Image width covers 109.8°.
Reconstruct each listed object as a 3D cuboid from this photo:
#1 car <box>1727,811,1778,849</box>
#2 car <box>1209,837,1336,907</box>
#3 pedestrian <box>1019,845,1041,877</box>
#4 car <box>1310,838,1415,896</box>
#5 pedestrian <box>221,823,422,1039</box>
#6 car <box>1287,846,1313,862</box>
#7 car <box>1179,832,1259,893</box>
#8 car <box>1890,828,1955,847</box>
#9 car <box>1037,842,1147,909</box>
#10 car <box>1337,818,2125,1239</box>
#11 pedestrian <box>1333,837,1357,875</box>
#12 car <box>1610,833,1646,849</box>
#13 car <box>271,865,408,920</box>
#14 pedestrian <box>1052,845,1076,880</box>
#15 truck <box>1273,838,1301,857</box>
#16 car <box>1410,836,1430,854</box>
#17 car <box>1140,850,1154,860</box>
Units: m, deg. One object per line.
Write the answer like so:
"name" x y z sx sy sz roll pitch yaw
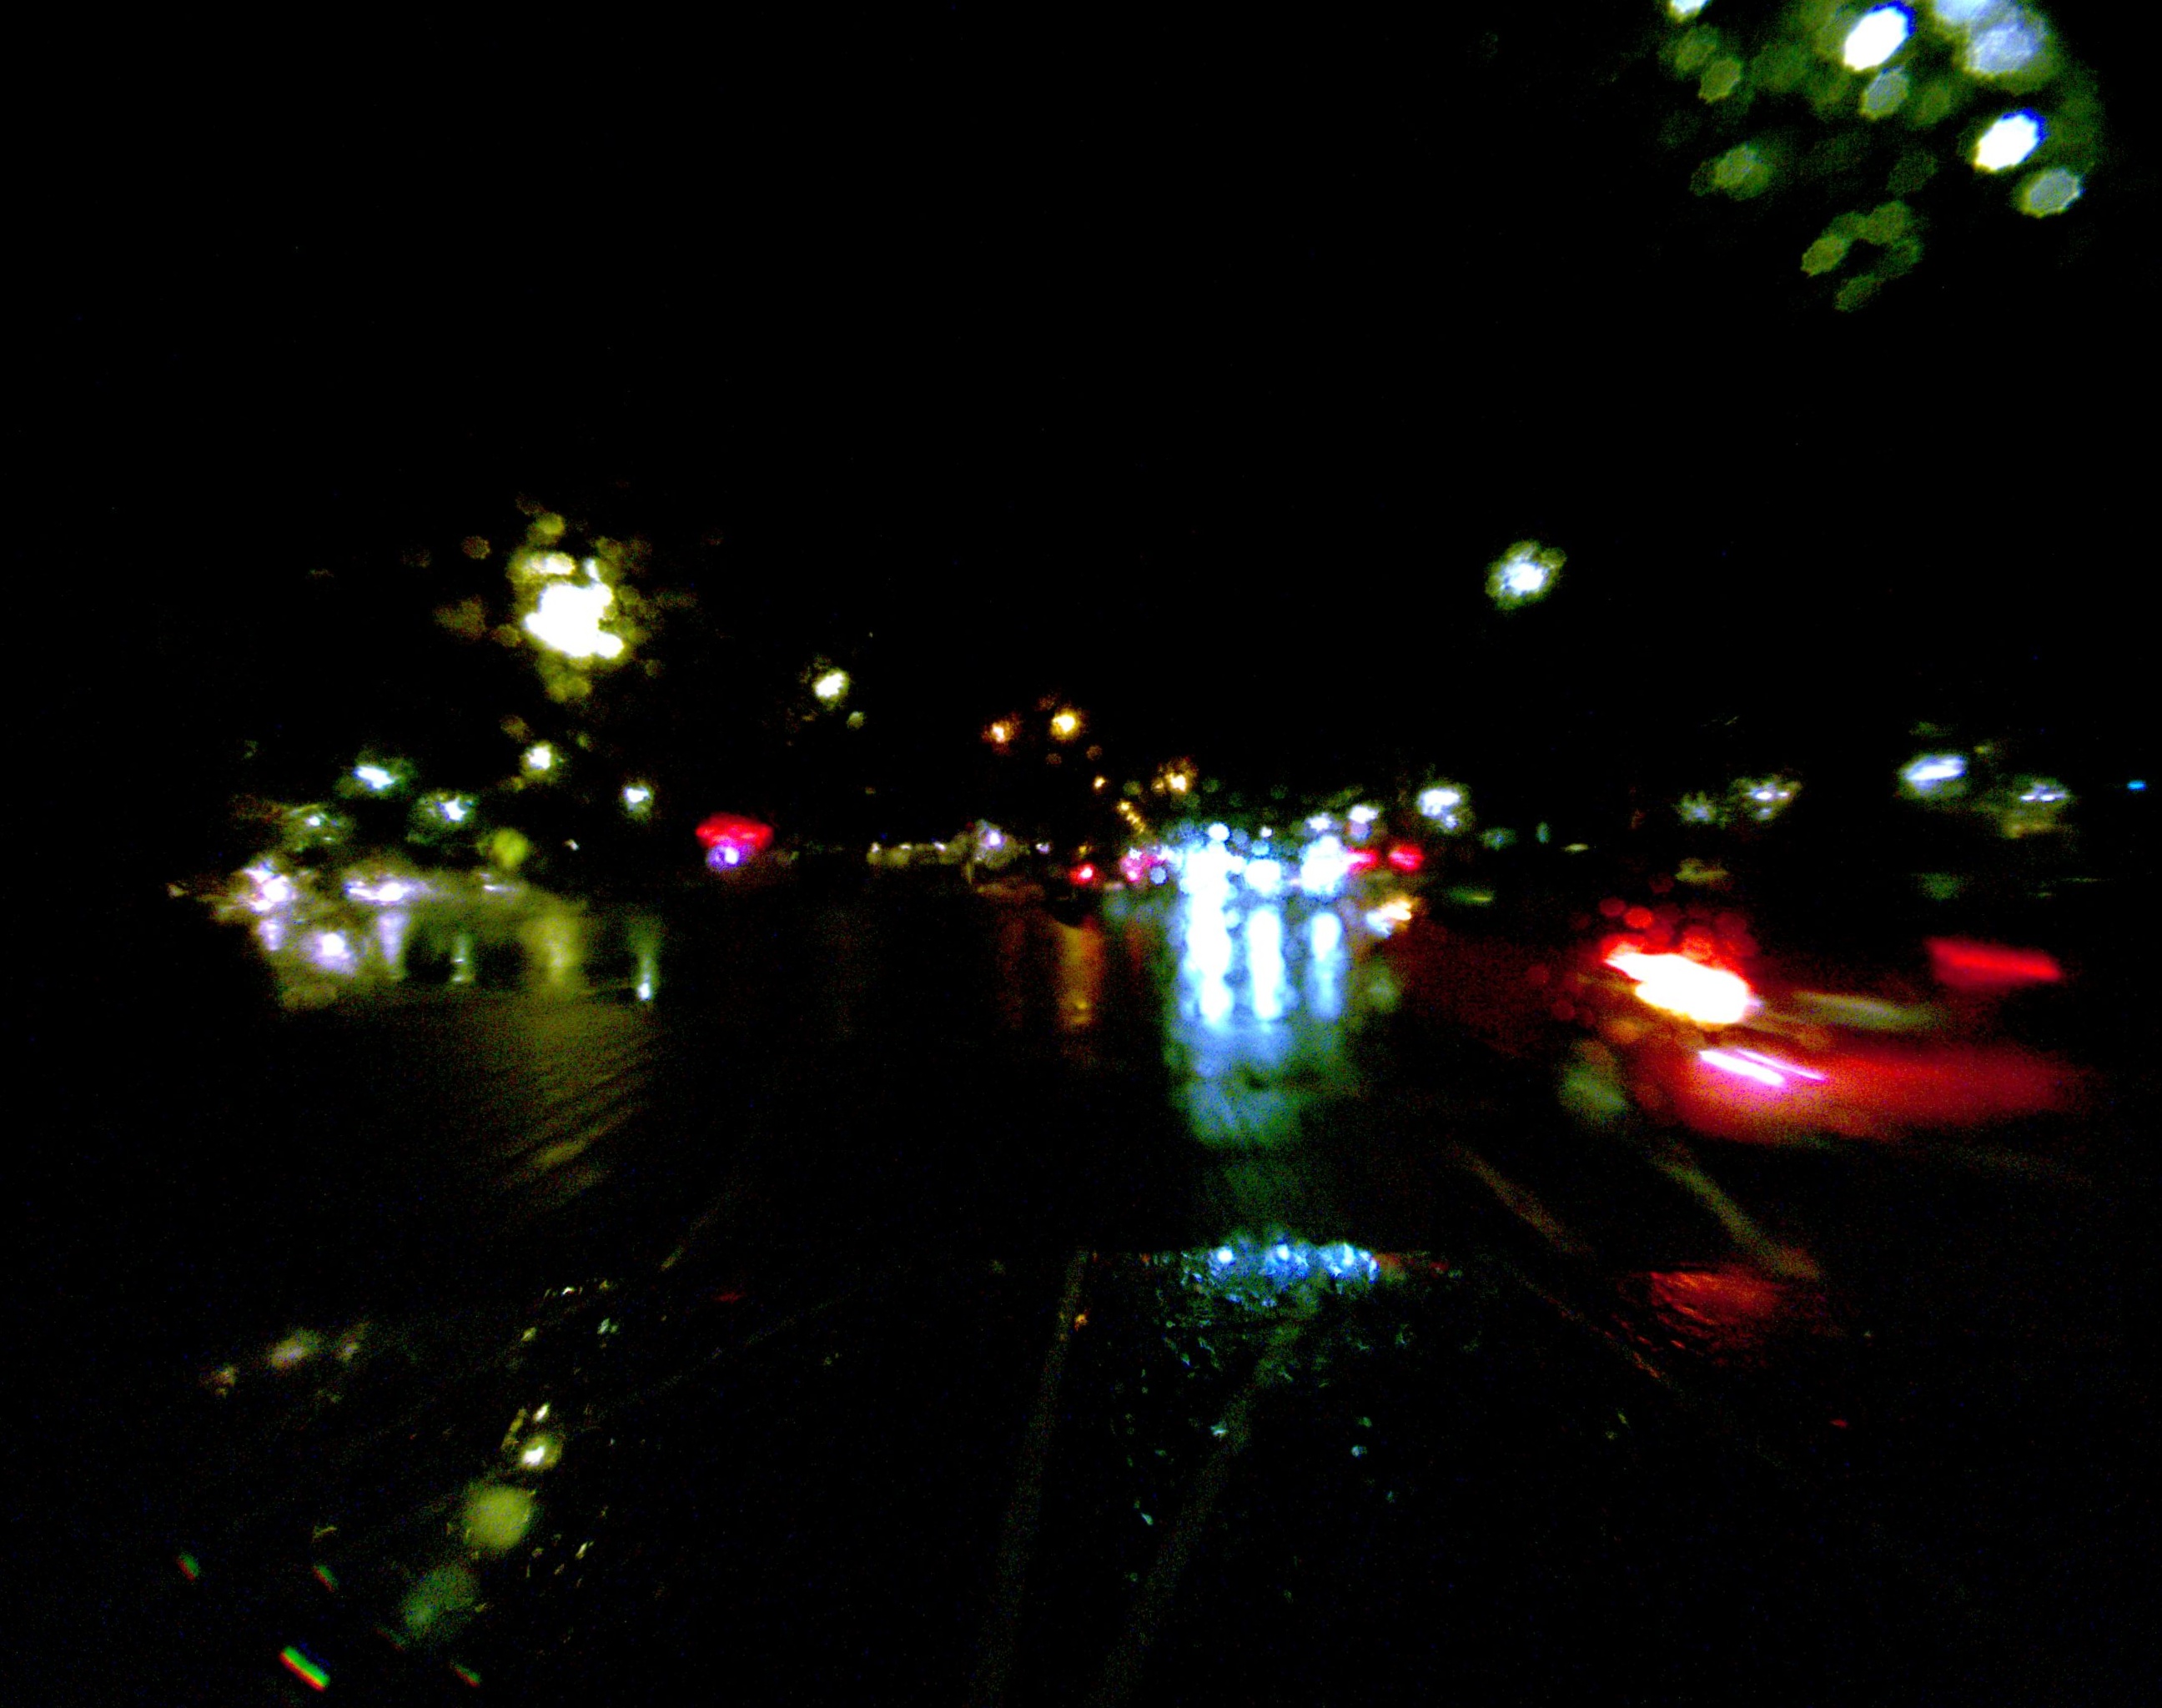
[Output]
"car" 51.953 -1.825 58.871 1.715 2.715 4.362 -2 1 25
"car" 4.747 0.389 19.556 1.823 1.533 4.724 -2 1 -3
"pedestrian" -2.902 0.408 43.472 1.109 1.815 0.851 -1 0 6
"car" 7.977 0.320 21.900 1.767 1.478 4.061 -2 1 5
"pedestrian" -7.604 0.716 7.685 1.016 2.002 0.976 -2 1 -14
"car" 21.199 -0.008 73.440 1.715 1.423 3.925 -2 0 25
"car" 4.796 0.304 27.119 2.039 1.942 5.201 -1 0 2
"car" 68.504 -1.323 61.946 1.866 1.434 4.501 -2 0 24
"car" 0.175 0.491 19.835 1.713 1.533 3.983 -2 1 -17
"car" 3.111 0.641 4.856 1.672 1.553 4.007 -2 1 2
"pedestrian" 12.424 0.097 35.773 0.769 1.726 0.971 -1 1 39
"car" 51.524 -1.256 71.695 1.866 1.434 4.501 -2 0 24
"car" -23.532 1.212 24.119 3.789 1.570 1.745 -2 1 23
"pedestrian" -0.875 0.436 39.637 1.109 1.815 0.851 -1 0 8
"truck" 23.020 -0.758 84.751 2.125 2.002 5.271 -2 0 24
"car" 35.348 -0.934 79.223 1.866 1.750 4.501 -2 0 24
"car" 10.426 0.178 120.433 1.857 1.490 4.769 -1 0 0
